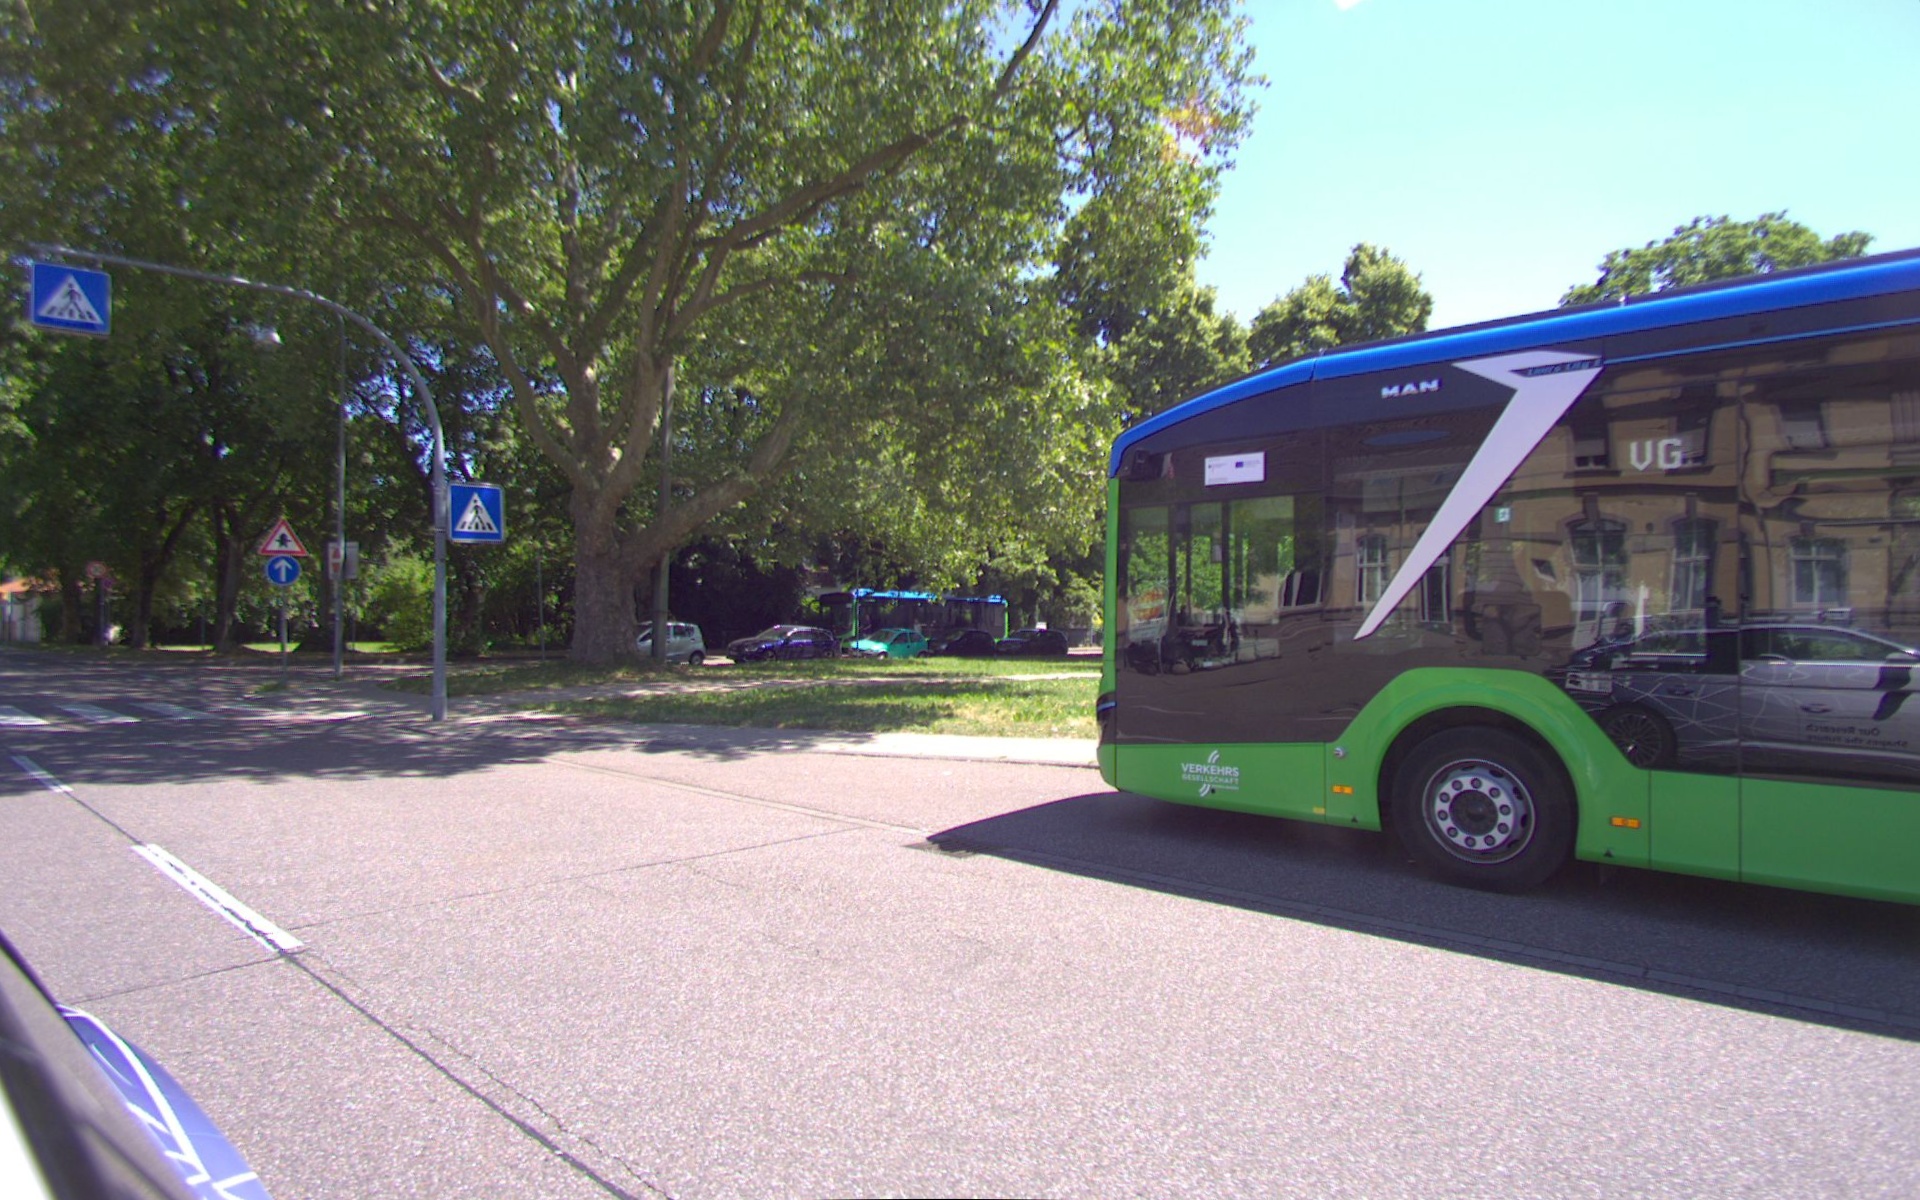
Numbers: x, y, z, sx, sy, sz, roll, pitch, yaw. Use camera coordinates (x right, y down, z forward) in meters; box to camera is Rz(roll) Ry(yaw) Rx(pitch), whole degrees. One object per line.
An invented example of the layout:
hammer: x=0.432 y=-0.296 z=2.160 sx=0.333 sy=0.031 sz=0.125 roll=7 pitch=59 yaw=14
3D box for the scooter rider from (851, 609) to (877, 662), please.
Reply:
scooter rider: x=-4.356 y=1.607 z=45.793 sx=0.741 sy=2.335 sz=0.914 roll=-2 pitch=-3 yaw=42

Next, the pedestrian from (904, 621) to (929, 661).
pedestrian: x=-1.982 y=1.863 z=46.437 sx=0.721 sy=1.816 sz=0.929 roll=-1 pitch=-2 yaw=36

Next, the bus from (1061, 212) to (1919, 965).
bus: x=6.320 y=-0.058 z=4.447 sx=12.418 sy=3.308 sz=2.779 roll=-1 pitch=-2 yaw=41

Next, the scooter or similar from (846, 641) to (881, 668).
scooter or similar: x=-4.368 y=2.465 z=45.760 sx=0.741 sy=1.192 sz=1.498 roll=-2 pitch=-3 yaw=42

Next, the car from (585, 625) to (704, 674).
car: x=-10.422 y=1.602 z=33.619 sx=1.599 sy=1.508 sz=3.438 roll=1 pitch=-1 yaw=41

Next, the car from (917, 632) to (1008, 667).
car: x=0.176 y=2.209 z=45.664 sx=1.759 sy=1.504 sz=4.316 roll=-1 pitch=-2 yaw=40

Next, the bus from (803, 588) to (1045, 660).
bus: x=-1.294 y=1.342 z=53.523 sx=2.876 sy=3.320 sz=15.733 roll=-1 pitch=-2 yaw=41

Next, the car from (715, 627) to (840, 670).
car: x=-6.683 y=1.746 z=37.462 sx=1.755 sy=1.450 sz=4.441 roll=1 pitch=-1 yaw=41

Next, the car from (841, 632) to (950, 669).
car: x=-2.618 y=2.072 z=42.050 sx=1.755 sy=1.450 sz=4.705 roll=-1 pitch=-2 yaw=41

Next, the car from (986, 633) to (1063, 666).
car: x=3.168 y=2.379 z=49.130 sx=1.759 sy=1.504 sz=3.865 roll=-1 pitch=-2 yaw=40
